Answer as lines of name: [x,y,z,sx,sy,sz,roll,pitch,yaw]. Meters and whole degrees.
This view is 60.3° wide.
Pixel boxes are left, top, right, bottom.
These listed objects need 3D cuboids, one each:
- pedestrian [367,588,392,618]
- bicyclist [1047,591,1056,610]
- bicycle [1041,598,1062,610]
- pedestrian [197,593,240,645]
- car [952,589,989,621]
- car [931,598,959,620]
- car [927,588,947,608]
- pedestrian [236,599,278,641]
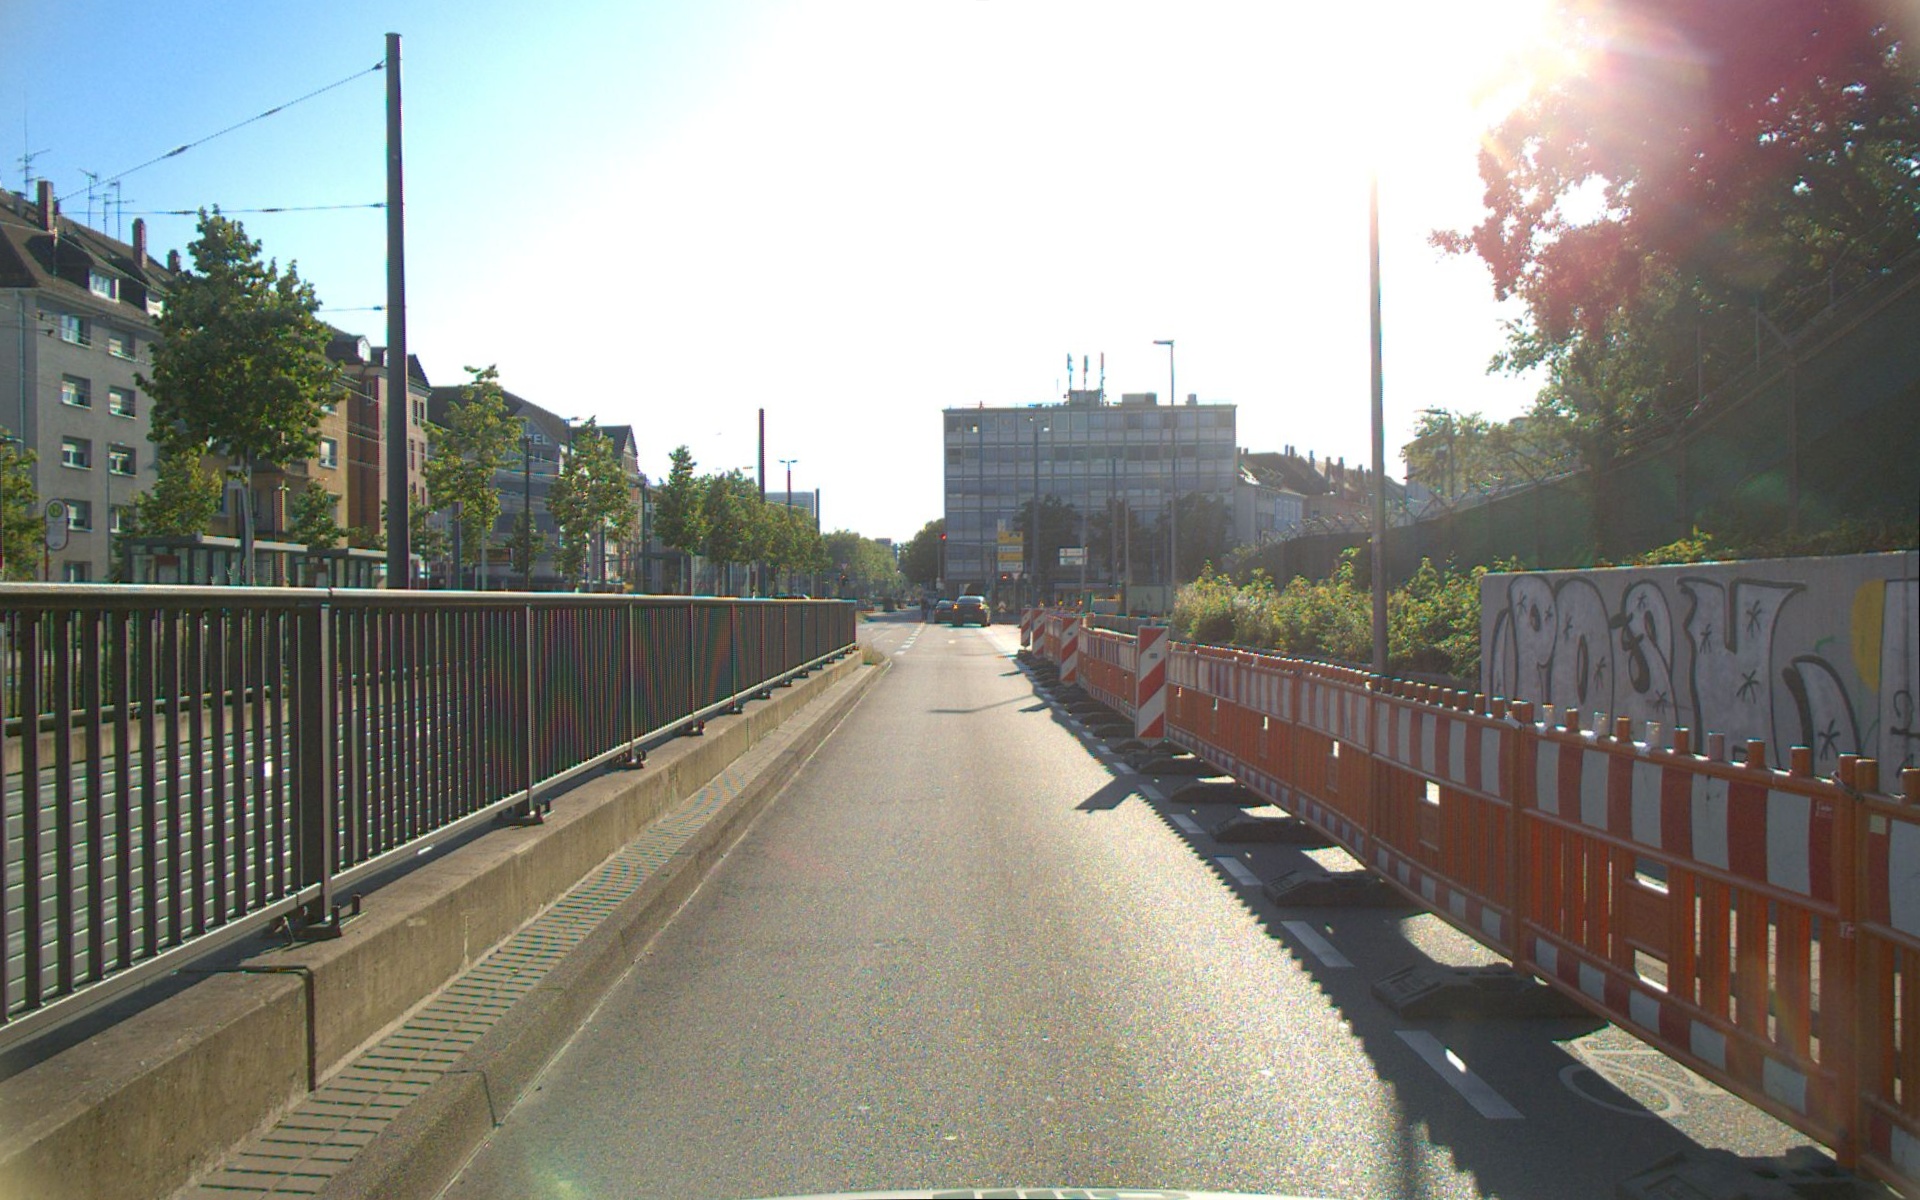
pedestrian: [-20.657,0.114,58.863,0.614,1.065,0.794,-1,0,-1]
bicyclist: [8.274,0.049,149.626,0.651,1.742,0.537,-1,0,-11]
bicycle: [8.286,0.375,149.625,1.744,1.091,0.534,-1,0,-11]
pedestrian: [-20.830,0.526,46.460,0.821,1.435,0.803,-1,0,-1]
car: [0.645,0.293,96.059,1.952,1.723,4.002,1,1,3]
car: [-0.988,0.575,107.273,1.708,1.451,3.998,0,0,-2]
car: [-2.917,-0.290,211.643,2.436,2.434,5.932,-2,0,-1]
pedestrian: [-20.831,0.599,49.032,0.915,1.218,0.764,-1,0,-1]
